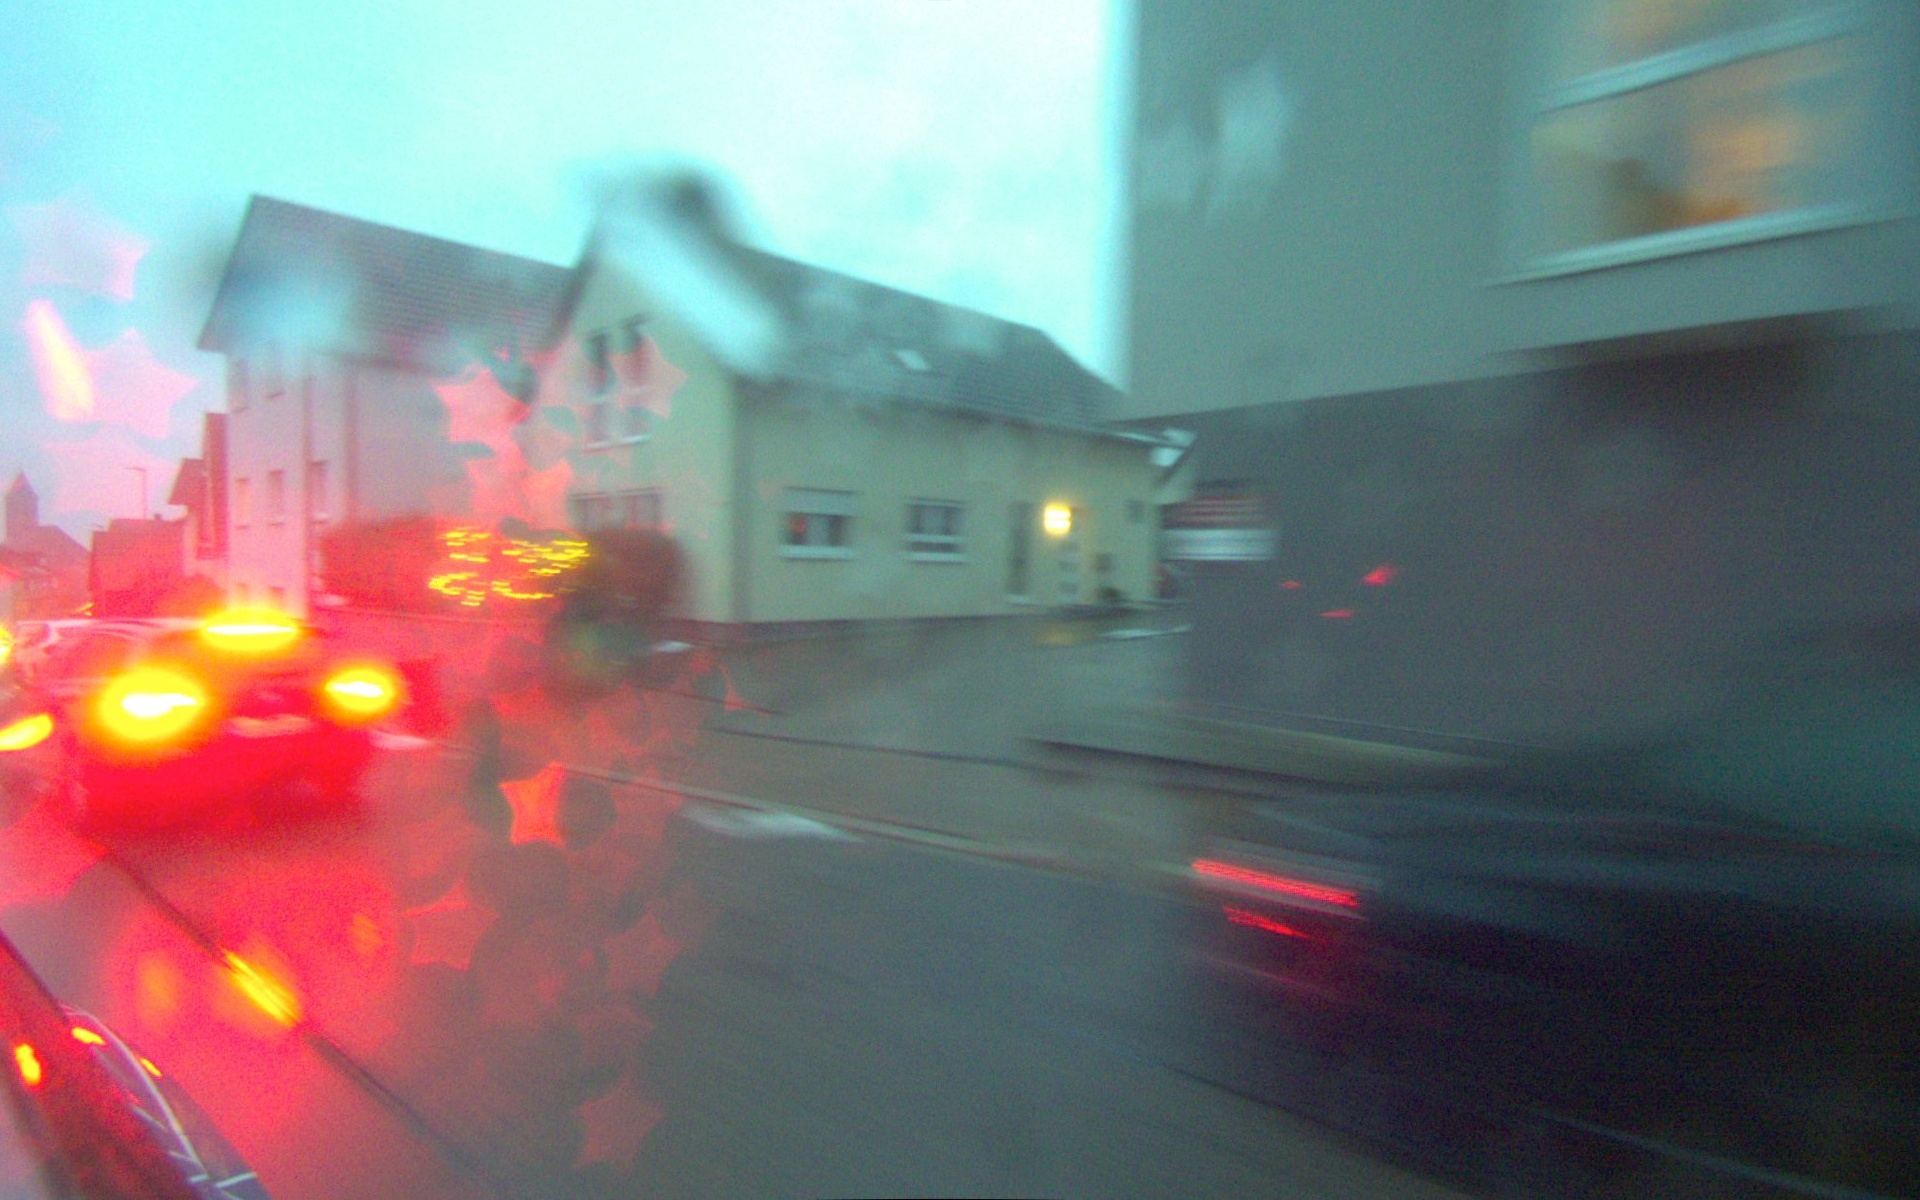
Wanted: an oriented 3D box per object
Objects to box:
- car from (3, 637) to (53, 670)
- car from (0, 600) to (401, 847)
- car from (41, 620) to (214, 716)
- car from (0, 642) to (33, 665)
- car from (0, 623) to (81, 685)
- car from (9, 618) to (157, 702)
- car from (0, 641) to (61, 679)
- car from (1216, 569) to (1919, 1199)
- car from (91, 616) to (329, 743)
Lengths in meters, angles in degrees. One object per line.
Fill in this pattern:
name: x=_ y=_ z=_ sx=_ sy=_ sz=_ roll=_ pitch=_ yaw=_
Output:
car: x=-46.822 y=2.659 z=50.817 sx=1.742 sy=1.564 sz=4.003 roll=2 pitch=-3 yaw=-44
car: x=-6.452 y=0.816 z=8.266 sx=4.374 sy=1.507 sz=1.756 roll=-2 pitch=-2 yaw=38
car: x=-14.197 y=1.076 z=17.186 sx=4.034 sy=1.447 sz=1.715 roll=-2 pitch=-2 yaw=42
car: x=-62.429 y=3.506 z=66.665 sx=3.731 sy=1.422 sz=1.697 roll=-2 pitch=-2 yaw=43
car: x=-29.173 y=1.689 z=32.072 sx=1.750 sy=1.806 sz=4.131 roll=1 pitch=-3 yaw=-44
car: x=-18.915 y=1.223 z=21.769 sx=4.422 sy=1.636 sz=1.897 roll=-2 pitch=-2 yaw=42
car: x=-38.615 y=2.450 z=41.964 sx=1.804 sy=1.477 sz=4.003 roll=2 pitch=-3 yaw=-44
car: x=2.658 y=0.642 z=2.254 sx=3.689 sy=1.428 sz=1.647 roll=-1 pitch=1 yaw=41
car: x=-10.377 y=0.987 z=13.882 sx=4.437 sy=1.455 sz=1.716 roll=-2 pitch=-1 yaw=41
